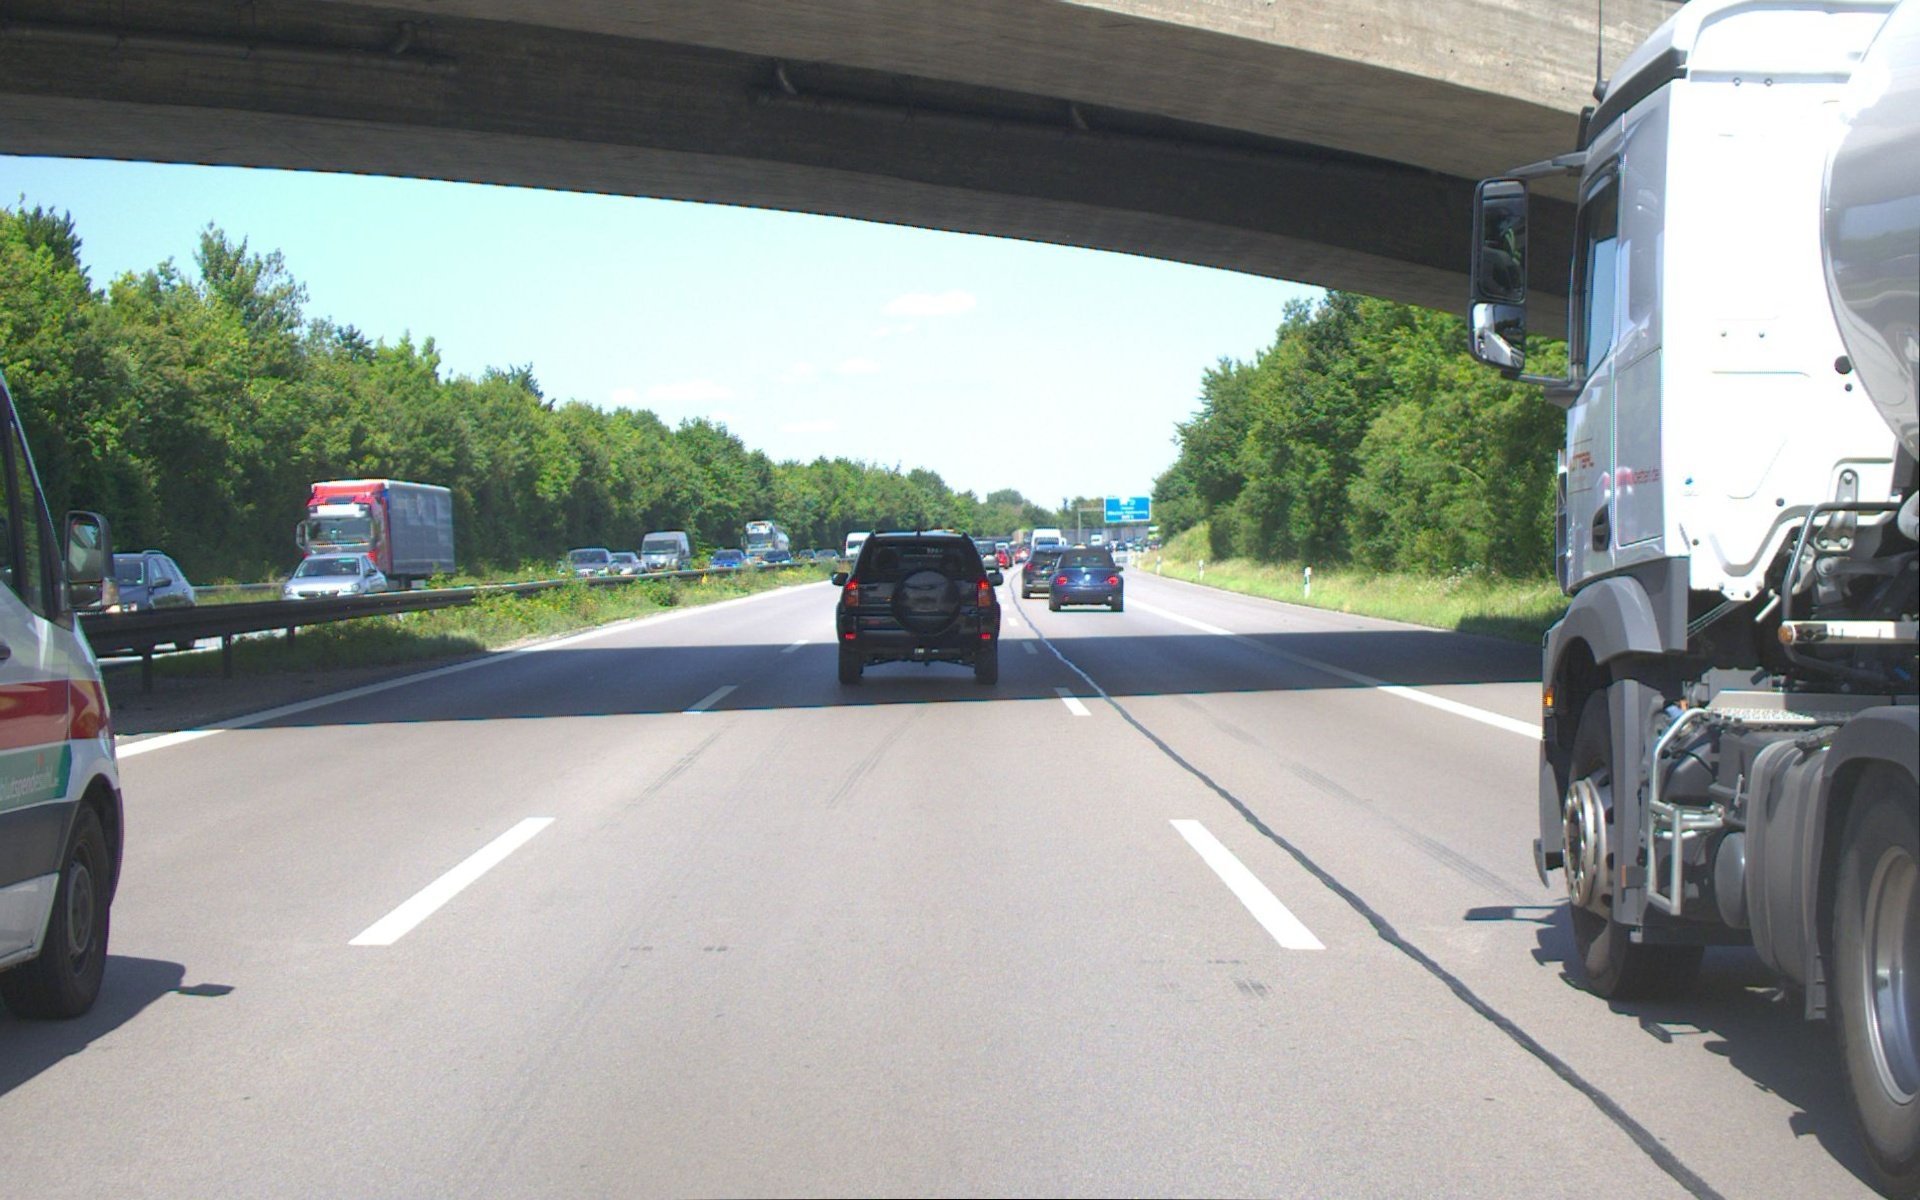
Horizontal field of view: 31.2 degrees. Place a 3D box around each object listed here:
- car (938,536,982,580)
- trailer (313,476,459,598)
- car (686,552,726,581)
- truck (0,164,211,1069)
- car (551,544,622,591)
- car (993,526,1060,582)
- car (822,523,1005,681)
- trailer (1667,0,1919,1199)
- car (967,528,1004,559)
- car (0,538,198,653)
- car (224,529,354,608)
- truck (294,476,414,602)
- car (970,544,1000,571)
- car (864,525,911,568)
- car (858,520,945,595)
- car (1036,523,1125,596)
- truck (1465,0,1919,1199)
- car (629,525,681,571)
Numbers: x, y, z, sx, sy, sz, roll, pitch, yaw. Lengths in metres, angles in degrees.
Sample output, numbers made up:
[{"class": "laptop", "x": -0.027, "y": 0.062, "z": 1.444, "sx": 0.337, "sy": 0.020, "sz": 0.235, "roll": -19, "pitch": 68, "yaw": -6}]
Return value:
[{"class": "car", "x": 0.000, "y": -2.011, "z": 163.966, "sx": 1.993, "sy": 2.007, "sz": 4.768, "roll": -1, "pitch": 1, "yaw": -1}, {"class": "trailer", "x": -20.424, "y": -2.260, "z": 123.231, "sx": 2.785, "sy": 4.026, "sz": 13.548, "roll": -3, "pitch": 1, "yaw": 0}, {"class": "car", "x": -12.607, "y": -1.684, "z": 170.810, "sx": 1.725, "sy": 1.370, "sz": 4.546, "roll": -1, "pitch": 1, "yaw": -1}, {"class": "truck", "x": -3.671, "y": 0.051, "z": 9.055, "sx": 1.993, "sy": 2.533, "sz": 6.692, "roll": 1, "pitch": 1, "yaw": -1}, {"class": "car", "x": -12.369, "y": -1.102, "z": 114.108, "sx": 1.882, "sy": 1.478, "sz": 4.434, "roll": -1, "pitch": 1, "yaw": 0}, {"class": "car", "x": 1.969, "y": -1.346, "z": 102.653, "sx": 1.842, "sy": 1.606, "sz": 4.000, "roll": -1, "pitch": 0, "yaw": -1}, {"class": "car", "x": -0.572, "y": -0.008, "z": 38.574, "sx": 1.906, "sy": 1.659, "sz": 4.001, "roll": -1, "pitch": 1, "yaw": -3}, {"class": "trailer", "x": 3.391, "y": -0.262, "z": 3.862, "sx": 2.648, "sy": 3.378, "sz": 11.153, "roll": 0, "pitch": 1, "yaw": -1}, {"class": "car", "x": 1.464, "y": -3.241, "z": 198.214, "sx": 1.993, "sy": 1.744, "sz": 4.205, "roll": -1, "pitch": 1, "yaw": -2}, {"class": "car", "x": -12.085, "y": -0.100, "z": 48.353, "sx": 1.774, "sy": 1.468, "sz": 4.420, "roll": -3, "pitch": 1, "yaw": -1}, {"class": "car", "x": -13.165, "y": -0.644, "z": 67.647, "sx": 1.682, "sy": 1.476, "sz": 4.348, "roll": -1, "pitch": 1, "yaw": 0}, {"class": "truck", "x": -20.440, "y": -2.070, "z": 116.294, "sx": 2.785, "sy": 4.047, "sz": 6.210, "roll": -3, "pitch": 1, "yaw": 0}, {"class": "car", "x": 1.687, "y": -2.869, "z": 231.347, "sx": 1.812, "sy": 1.740, "sz": 4.001, "roll": -1, "pitch": 1, "yaw": -2}, {"class": "car", "x": -3.545, "y": -2.621, "z": 168.485, "sx": 1.993, "sy": 2.007, "sz": 4.949, "roll": -1, "pitch": 1, "yaw": 2}, {"class": "car", "x": -1.401, "y": -1.031, "z": 82.884, "sx": 1.993, "sy": 1.700, "sz": 4.336, "roll": -1, "pitch": 1, "yaw": -1}, {"class": "car", "x": 2.867, "y": -0.951, "z": 82.583, "sx": 1.993, "sy": 1.678, "sz": 4.000, "roll": -1, "pitch": 0, "yaw": 0}, {"class": "truck", "x": 3.322, "y": -0.356, "z": 10.172, "sx": 2.638, "sy": 3.363, "sz": 6.488, "roll": 0, "pitch": 1, "yaw": 0}, {"class": "car", "x": -15.309, "y": -2.589, "z": 172.844, "sx": 1.993, "sy": 2.227, "sz": 6.518, "roll": -1, "pitch": 0, "yaw": 0}]
